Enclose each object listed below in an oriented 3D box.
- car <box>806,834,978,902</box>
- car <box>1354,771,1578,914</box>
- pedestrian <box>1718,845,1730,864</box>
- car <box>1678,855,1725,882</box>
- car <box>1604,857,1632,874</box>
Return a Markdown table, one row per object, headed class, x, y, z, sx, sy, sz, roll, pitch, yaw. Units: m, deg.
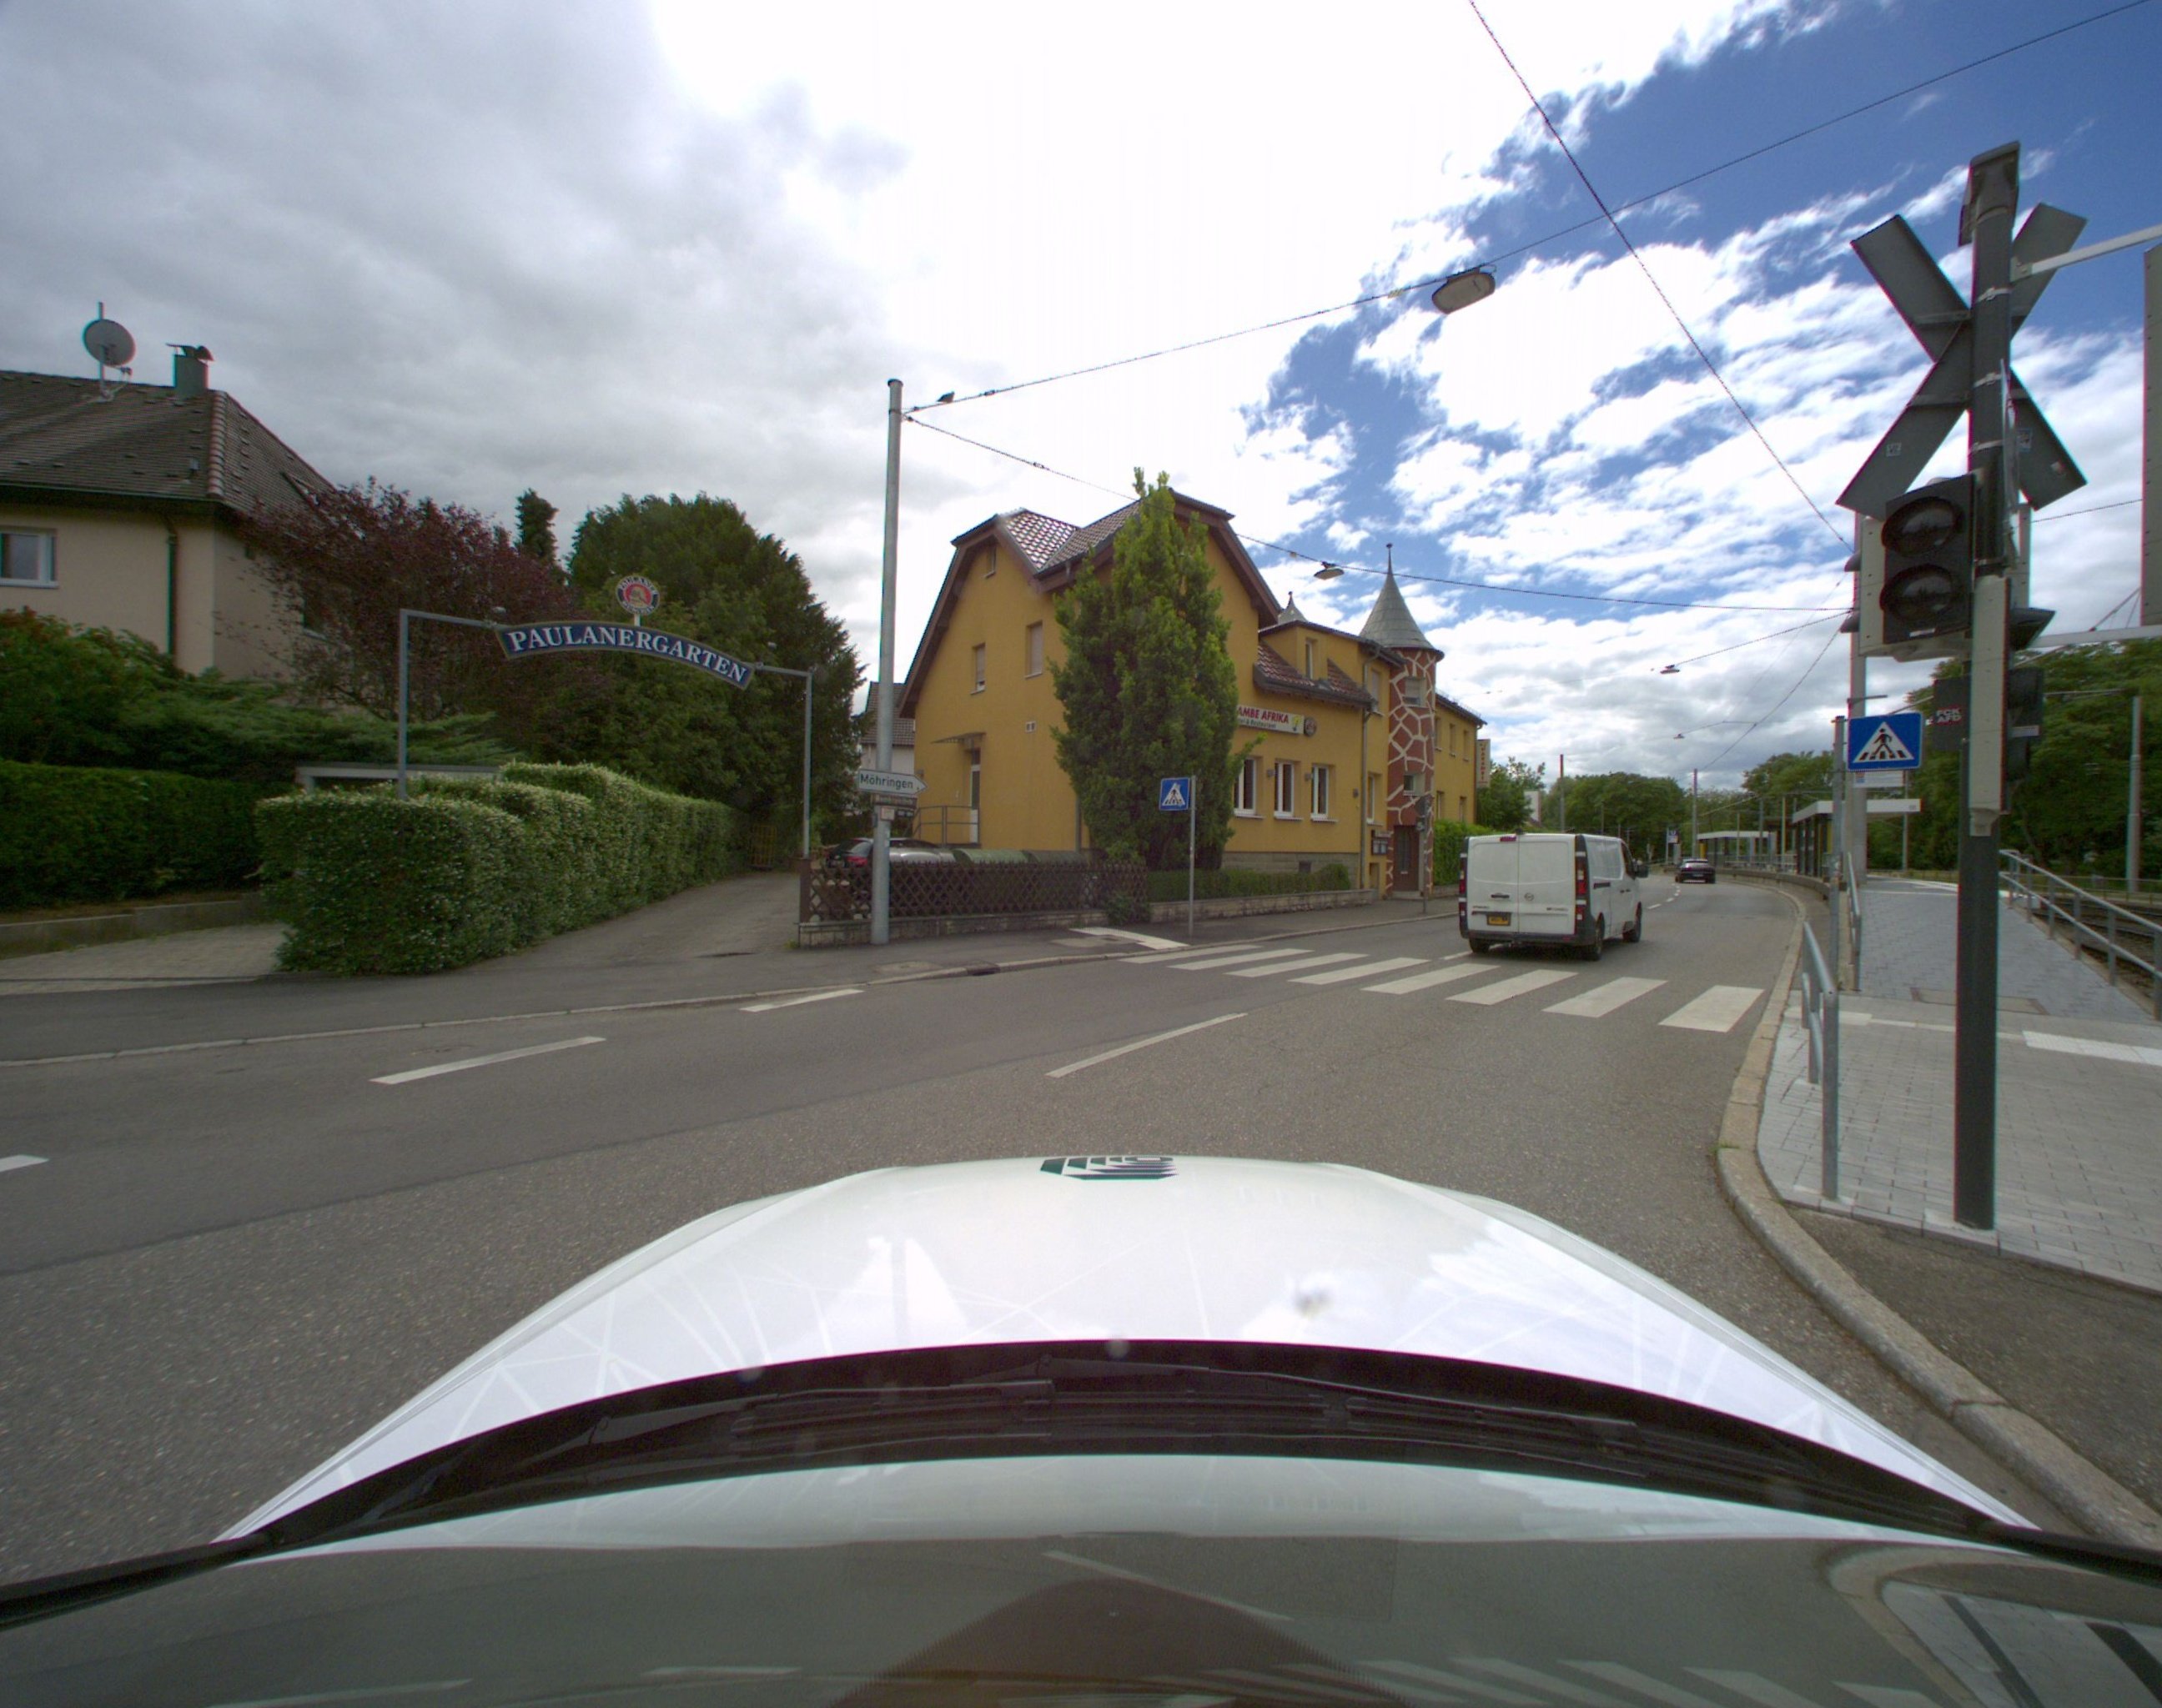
| class | x | y | z | sx | sy | sz | roll | pitch | yaw |
| --- | --- | --- | --- | --- | --- | --- | --- | --- | --- |
| car | -4.509 | 0.266 | 19.712 | 3.700 | 1.427 | 1.706 | -1 | 4 | -44 |
| car | 7.215 | -0.187 | 14.875 | 2.097 | 2.134 | 5.473 | 2 | 1 | 43 |
| pedestrian | 49.857 | 0.030 | 63.154 | 0.632 | 1.404 | 0.769 | 0 | 1 | 29 |
| car | 40.947 | 0.947 | 53.771 | 2.333 | 1.564 | 4.400 | 3 | 1 | 37 |
| car | 47.334 | 1.012 | 71.856 | 1.801 | 1.419 | 4.491 | -2 | -2 | 30 |
